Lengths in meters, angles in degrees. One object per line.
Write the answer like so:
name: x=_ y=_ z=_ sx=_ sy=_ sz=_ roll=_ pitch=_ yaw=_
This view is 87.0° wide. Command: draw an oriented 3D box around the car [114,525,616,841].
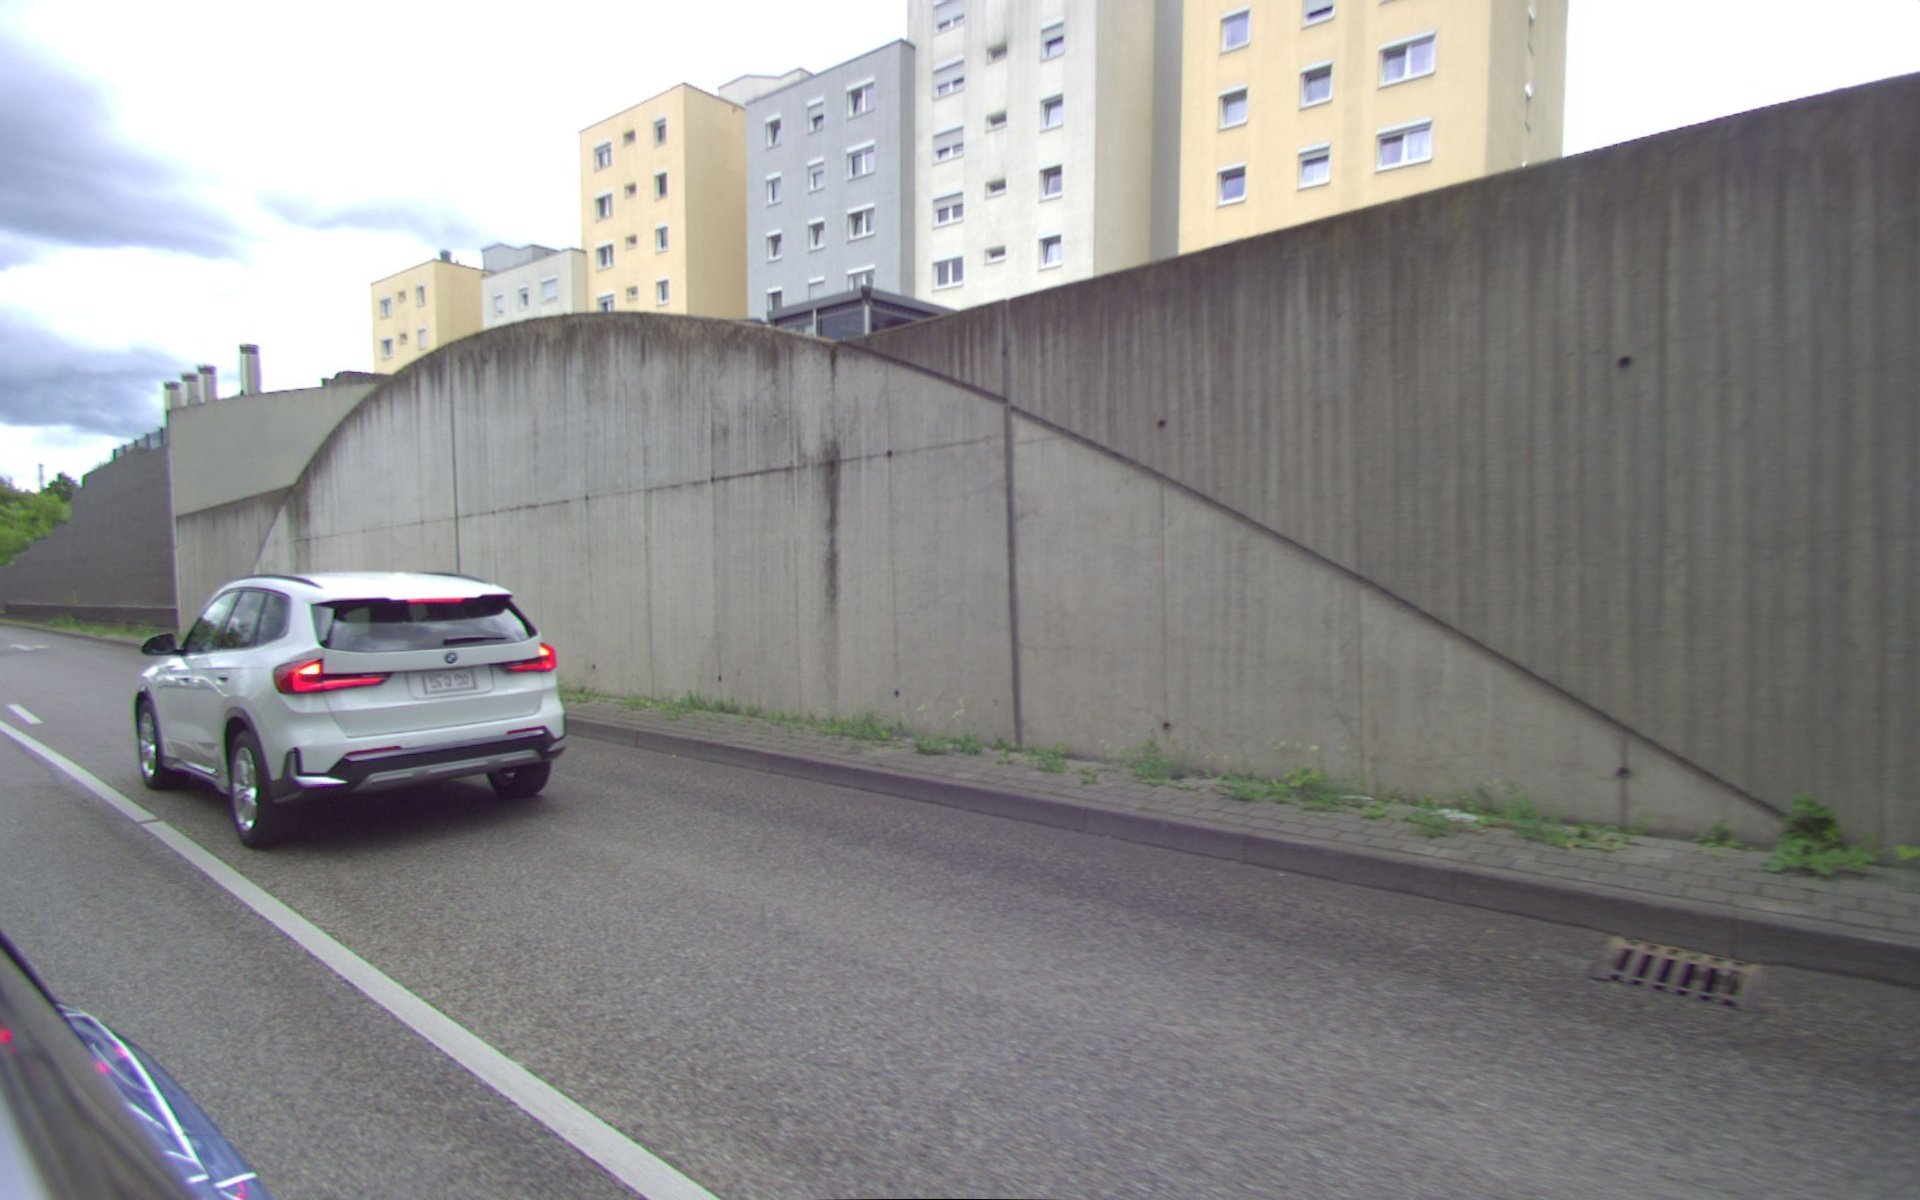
car: x=-4.543 y=0.349 z=7.421 sx=4.425 sy=1.644 sz=1.870 roll=2 pitch=3 yaw=41
